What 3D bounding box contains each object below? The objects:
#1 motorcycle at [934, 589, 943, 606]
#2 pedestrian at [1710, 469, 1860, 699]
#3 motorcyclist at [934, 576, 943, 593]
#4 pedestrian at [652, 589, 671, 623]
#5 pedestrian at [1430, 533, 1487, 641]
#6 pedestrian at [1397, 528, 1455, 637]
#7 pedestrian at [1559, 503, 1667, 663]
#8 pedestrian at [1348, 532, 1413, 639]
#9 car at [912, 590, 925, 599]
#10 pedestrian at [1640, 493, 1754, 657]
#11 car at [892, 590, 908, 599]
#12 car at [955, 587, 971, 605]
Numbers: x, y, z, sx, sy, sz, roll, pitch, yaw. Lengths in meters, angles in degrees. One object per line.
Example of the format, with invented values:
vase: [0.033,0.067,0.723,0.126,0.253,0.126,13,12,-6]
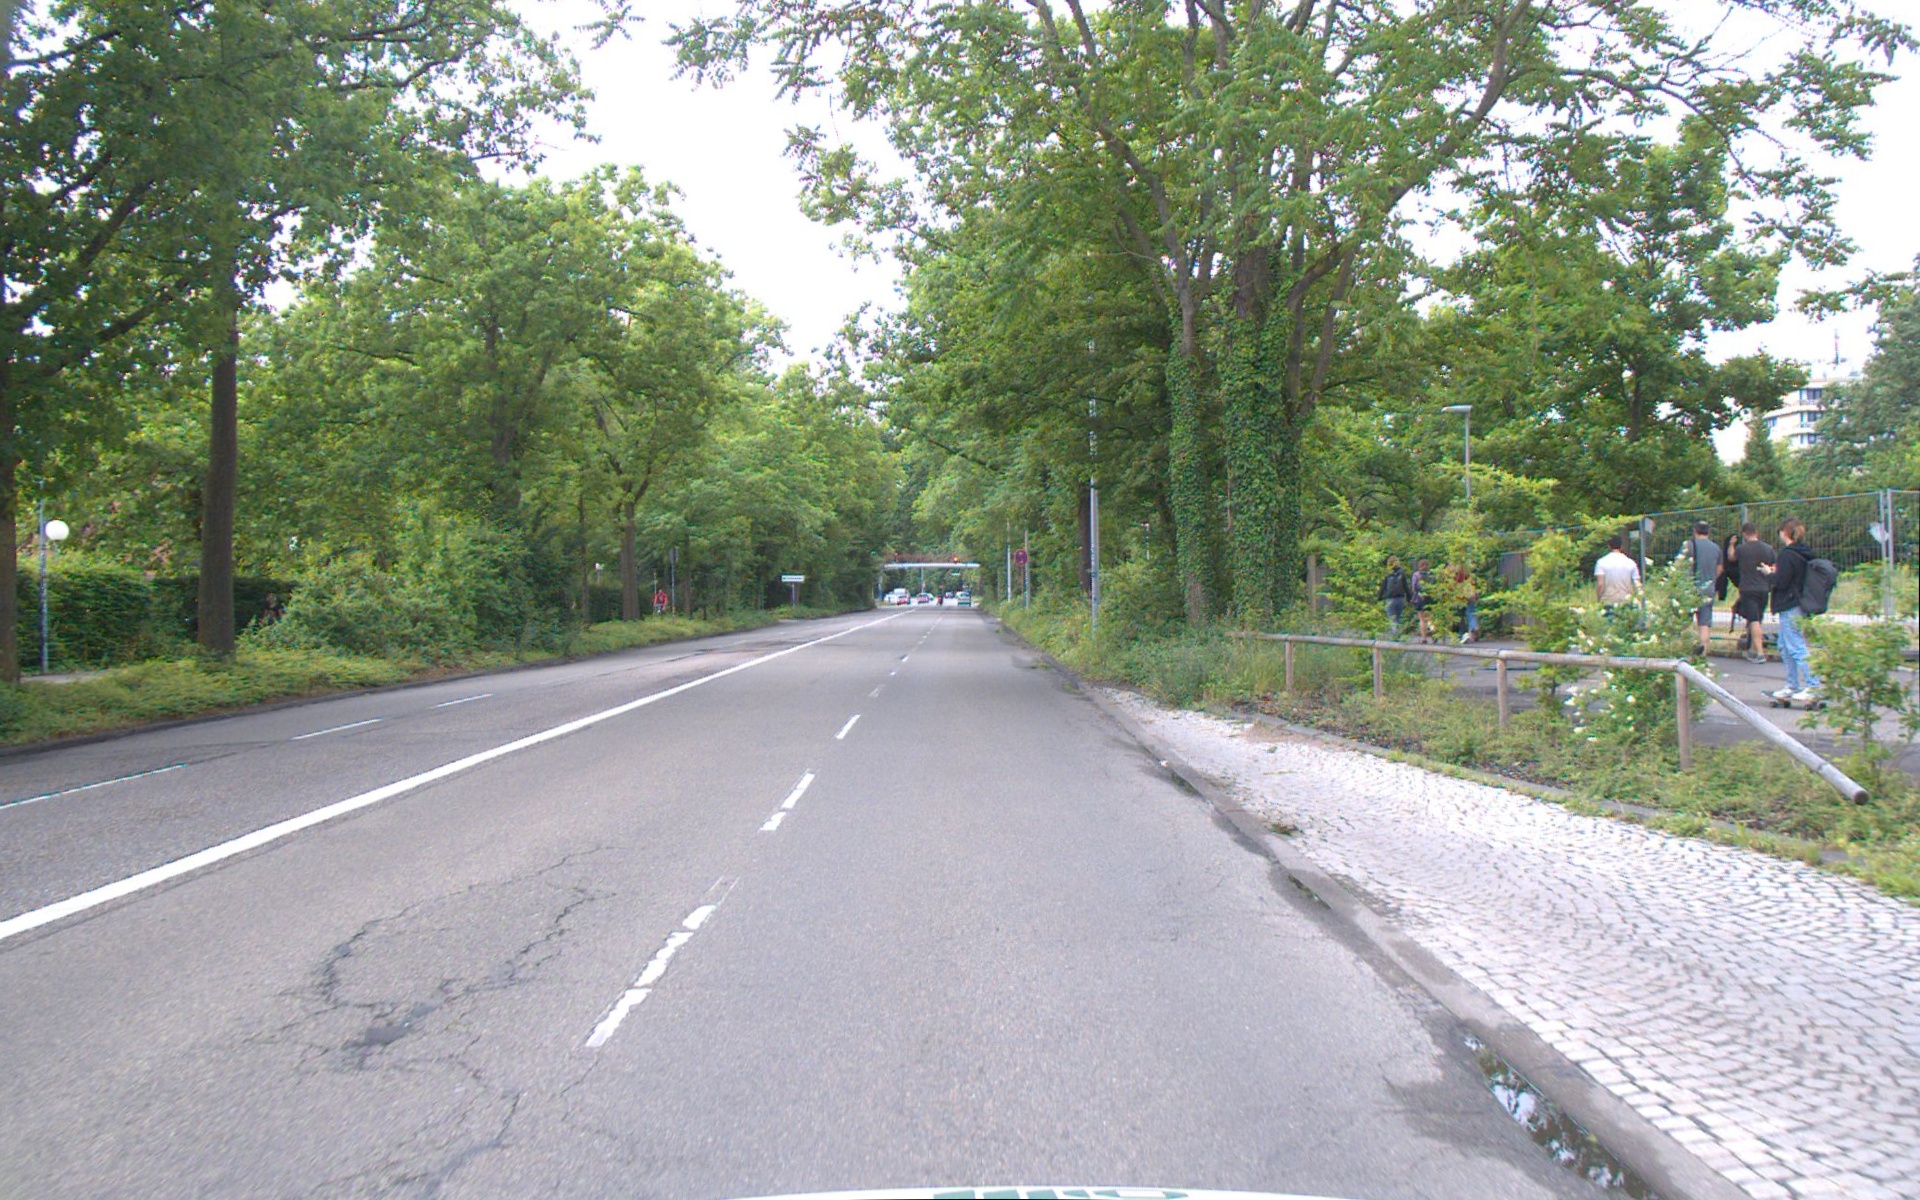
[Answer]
motorcycle: [-2.600,-0.322,200.951,0.970,1.970,2.669,0,0,0]
pedestrian: [7.659,-0.151,15.394,0.827,2.049,0.892,-2,0,-9]
motorcyclist: [-2.627,-1.896,200.999,1.041,2.049,0.842,0,0,0]
pedestrian: [-14.377,0.279,79.715,0.775,1.641,0.848,0,0,0]
pedestrian: [9.746,-0.254,32.347,0.807,2.048,0.720,-3,0,-1]
pedestrian: [9.045,-0.345,32.142,0.807,2.048,0.720,-3,0,-1]
pedestrian: [8.739,-0.226,22.170,0.907,2.048,1.039,-2,0,-5]
pedestrian: [8.319,-0.279,32.758,0.907,2.048,1.039,-2,0,-5]
car: [-6.108,-0.840,244.566,1.640,1.386,3.922,0,1,2]
pedestrian: [9.607,-0.321,21.584,0.907,2.048,1.039,-2,0,-5]
car: [-8.839,-0.800,244.314,1.952,1.377,3.896,0,1,3]
car: [0.340,-0.490,197.288,1.805,2.049,4.000,0,0,0]
